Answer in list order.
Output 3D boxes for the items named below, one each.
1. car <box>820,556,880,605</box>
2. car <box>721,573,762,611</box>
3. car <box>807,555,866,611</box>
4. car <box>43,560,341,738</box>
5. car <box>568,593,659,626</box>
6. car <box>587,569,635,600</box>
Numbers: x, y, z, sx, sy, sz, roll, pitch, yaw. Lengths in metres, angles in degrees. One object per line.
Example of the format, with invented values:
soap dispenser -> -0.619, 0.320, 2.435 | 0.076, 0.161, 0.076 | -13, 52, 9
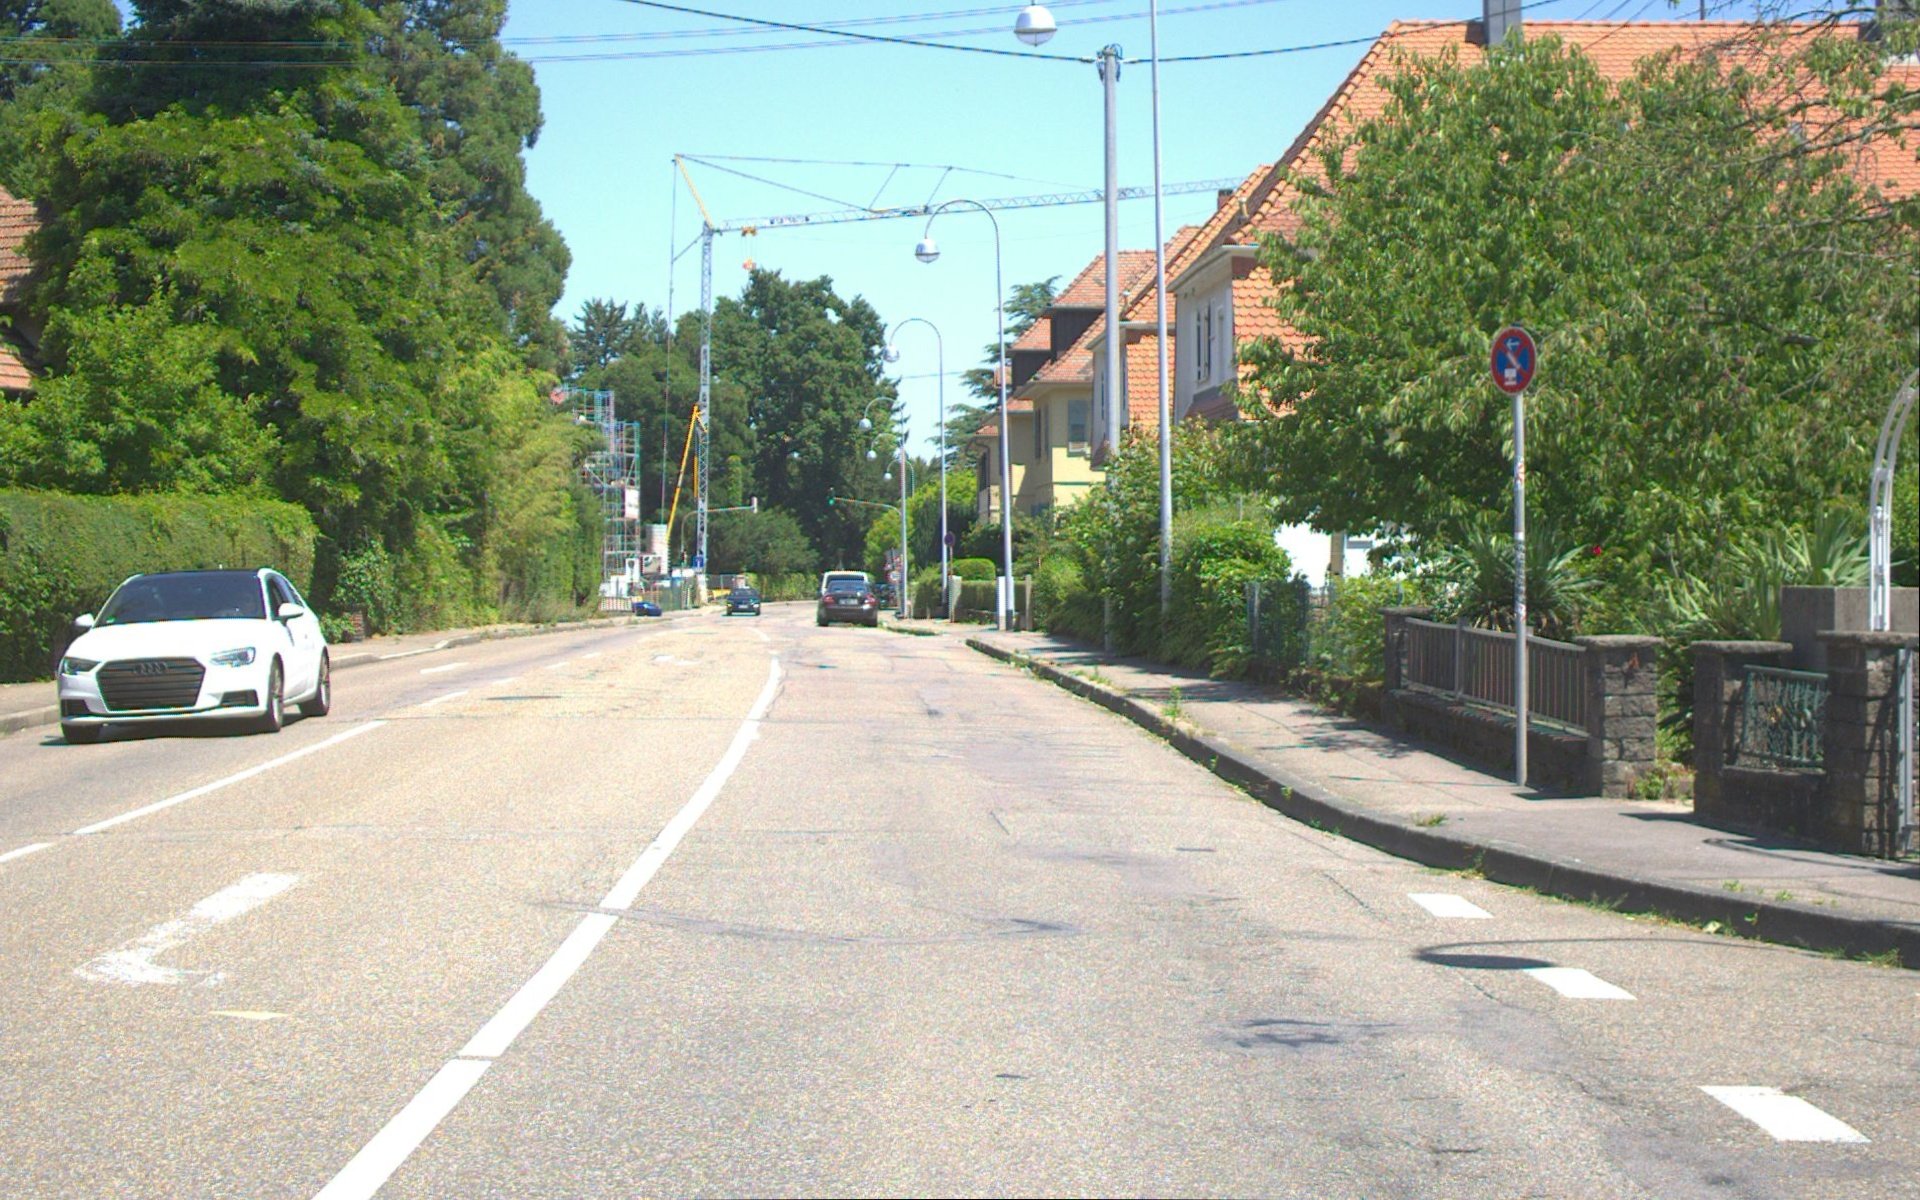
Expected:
car -> -3.354, -0.578, 104.206 | 1.692, 1.414, 4.551 | 0, -1, -3
car -> -11.650, -0.443, 183.605 | 1.993, 1.844, 4.711 | 0, 2, -1
car -> -4.475, -0.600, 123.856 | 1.993, 1.895, 4.823 | 2, 0, -3
car -> -6.571, 0.371, 29.815 | 1.680, 1.368, 4.207 | -2, 1, -1
car -> -17.072, 0.461, 169.391 | 3.989, 1.463, 1.964 | -2, 1, 12
car -> -16.310, -0.720, 160.839 | 1.660, 1.384, 3.534 | -1, 0, 3
